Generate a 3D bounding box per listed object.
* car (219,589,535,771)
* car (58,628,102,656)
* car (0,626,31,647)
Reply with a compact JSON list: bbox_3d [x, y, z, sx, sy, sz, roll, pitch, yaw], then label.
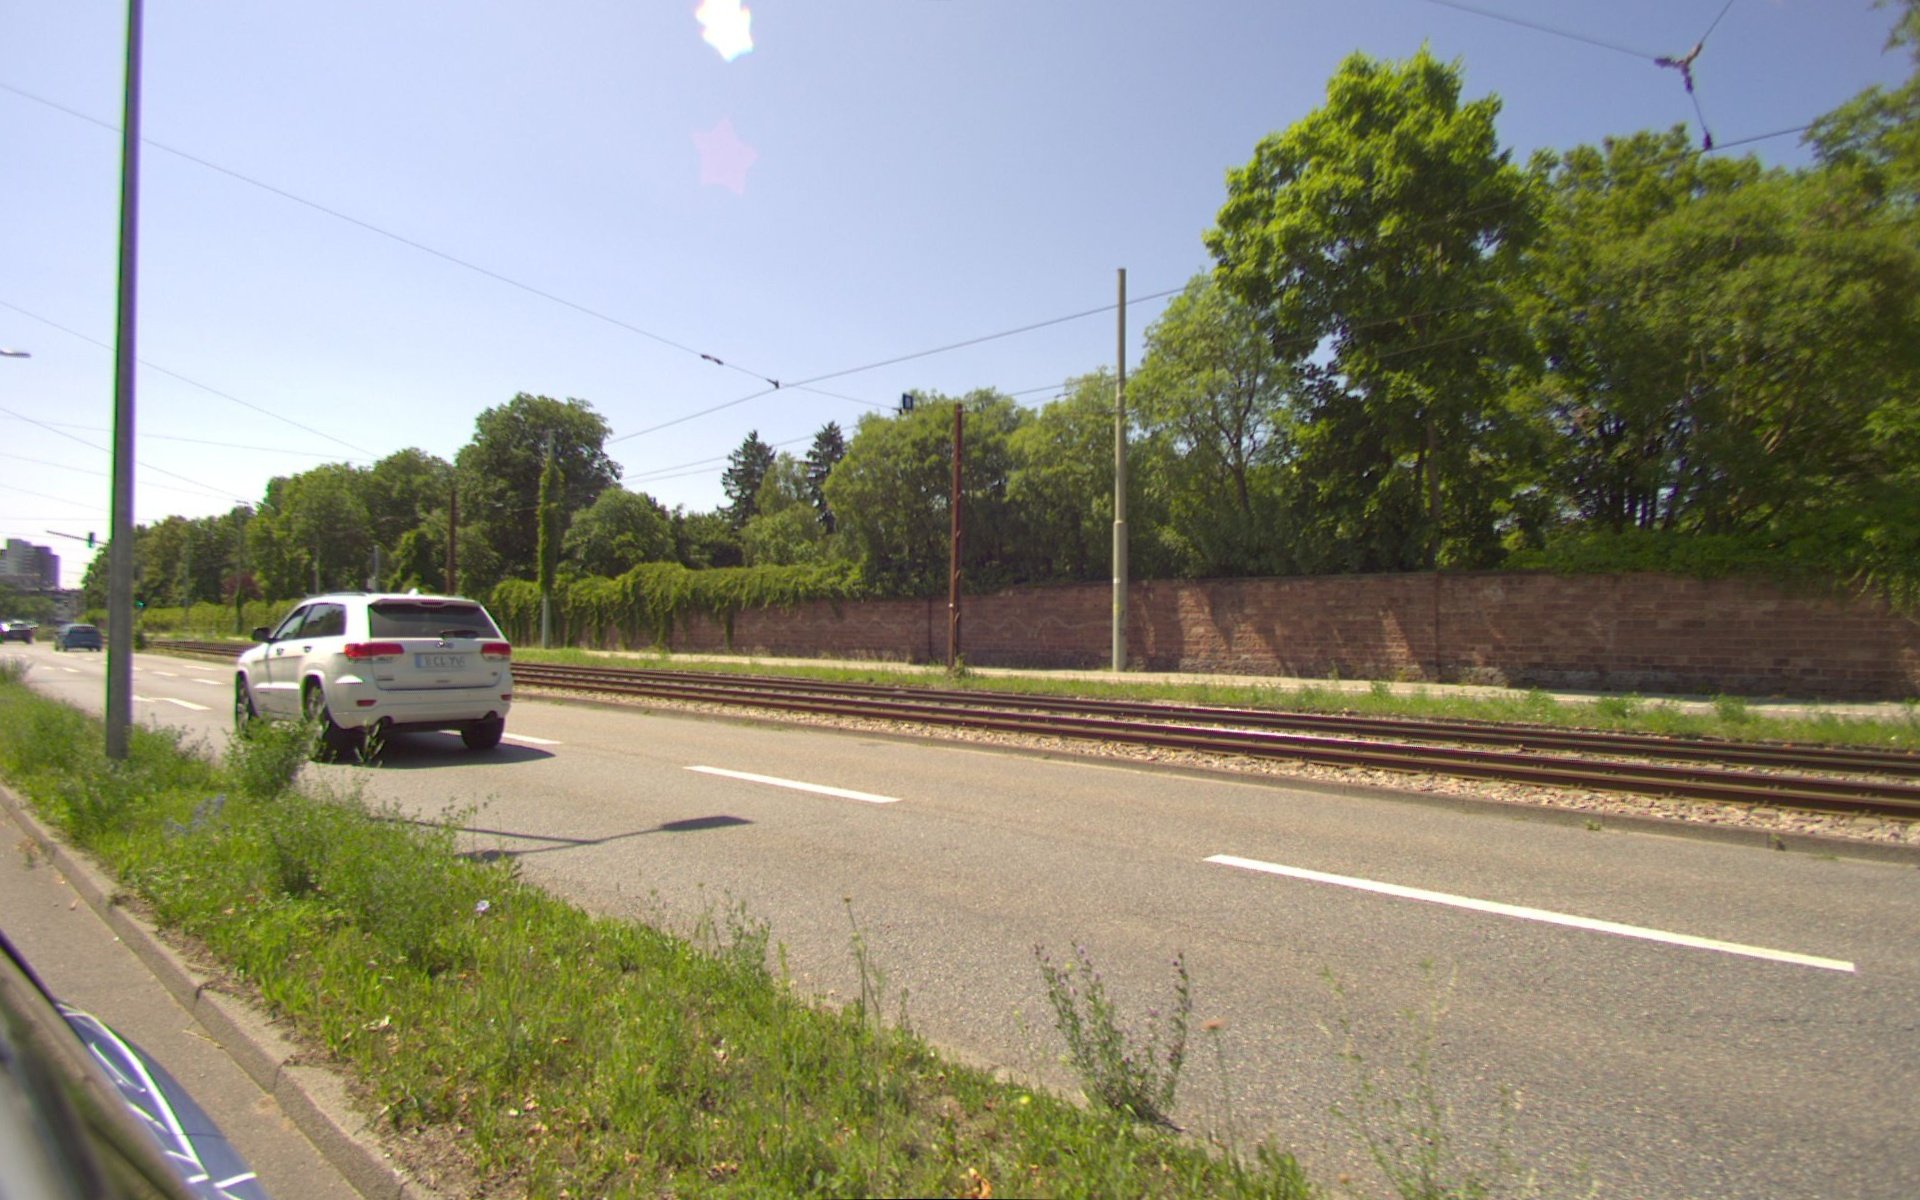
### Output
[{"bbox_3d":[-7.069,0.864,12.059,4.586,1.762,1.880,-2,-4,42],"label":"car"},{"bbox_3d":[-47.475,2.254,54.551,1.674,1.482,3.795,2,-3,-42],"label":"car"},{"bbox_3d":[-69.146,2.660,73.745,4.096,1.532,1.742,-2,-3,42],"label":"car"}]
